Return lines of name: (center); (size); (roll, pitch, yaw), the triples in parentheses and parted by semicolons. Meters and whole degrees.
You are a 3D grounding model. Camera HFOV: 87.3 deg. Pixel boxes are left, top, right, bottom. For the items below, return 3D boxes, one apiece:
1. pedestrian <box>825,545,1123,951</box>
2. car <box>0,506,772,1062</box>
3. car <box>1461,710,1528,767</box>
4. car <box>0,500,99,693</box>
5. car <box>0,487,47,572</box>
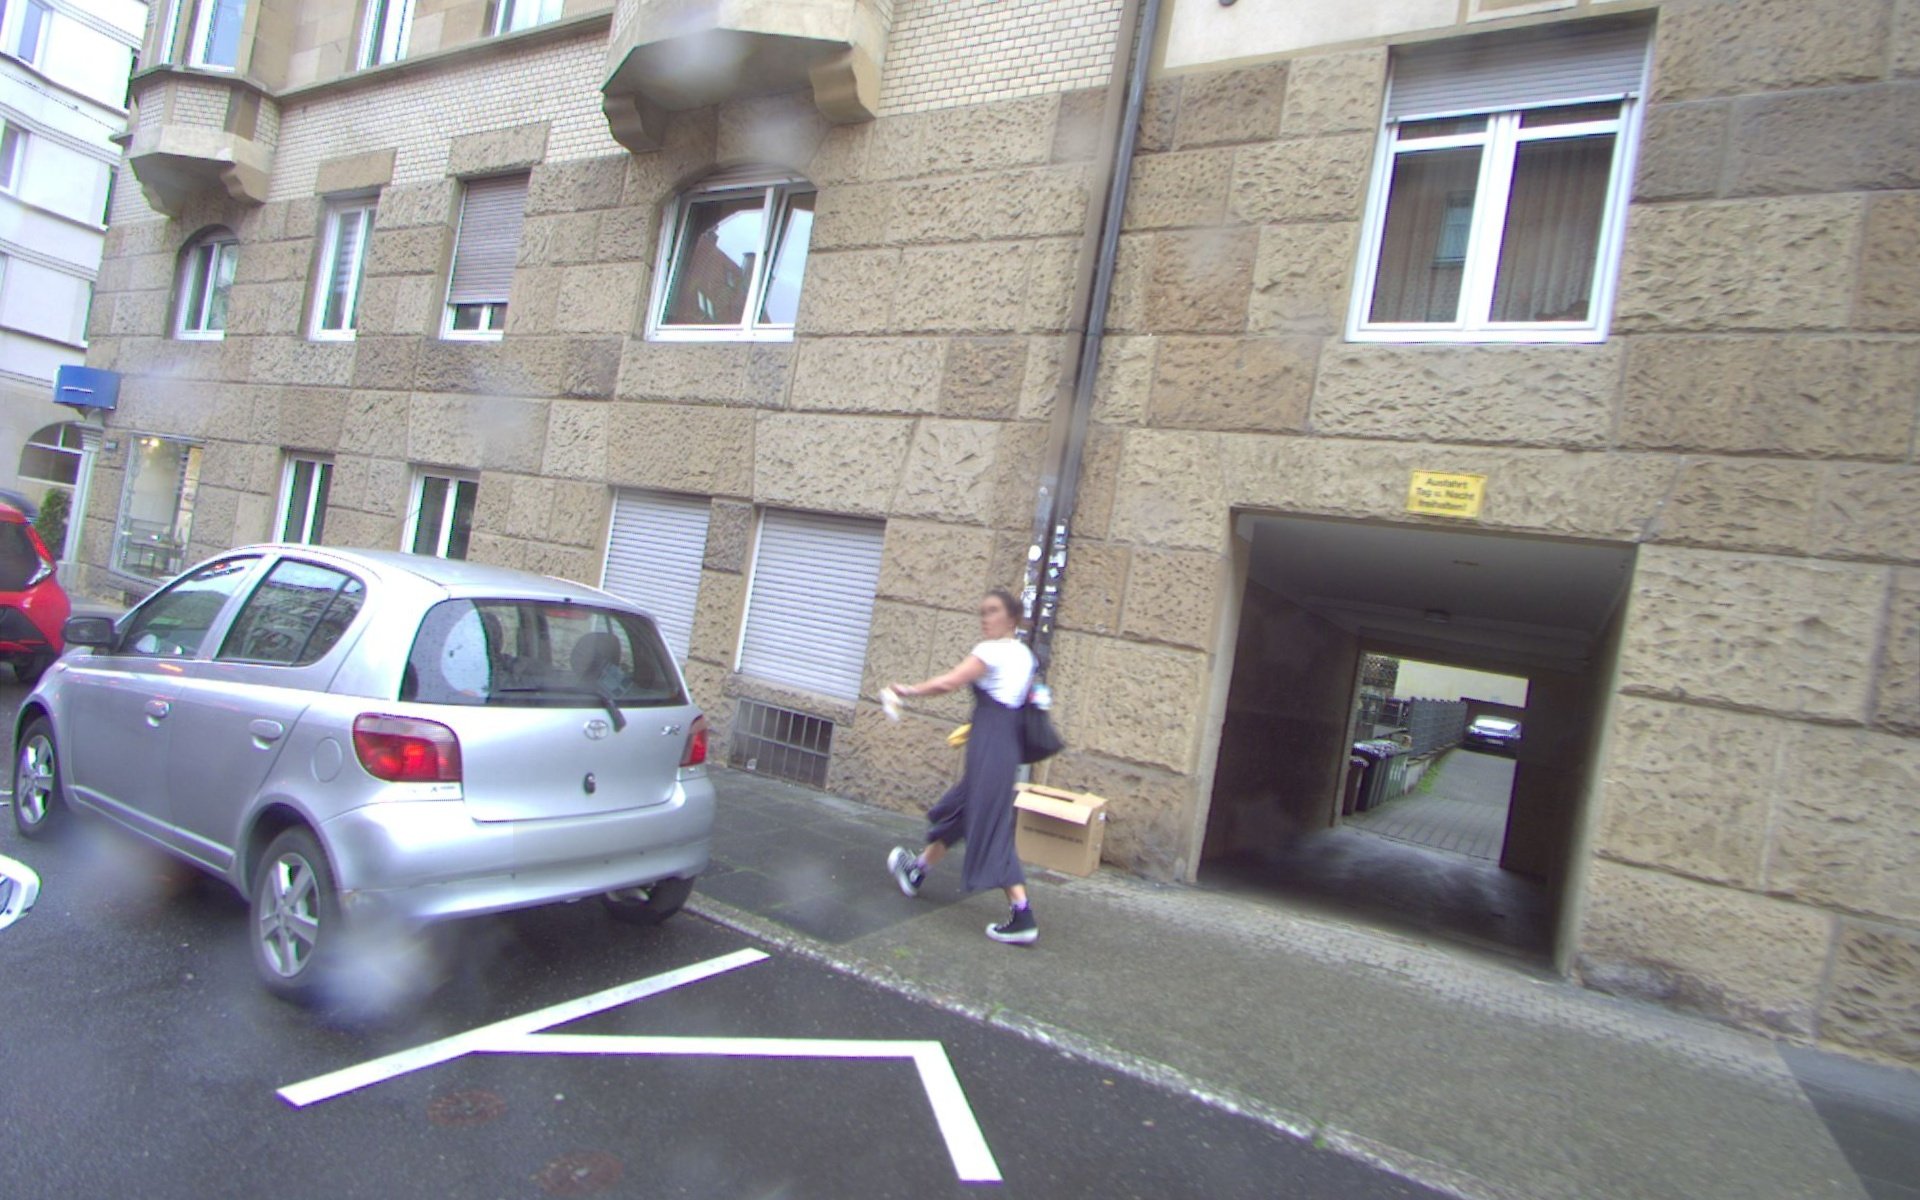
pedestrian: (0.077, 0.683, 5.117); (1.093, 1.768, 0.743); (6, -1, 32)
car: (-2.675, 0.523, 4.513); (3.258, 1.485, 1.616); (7, 0, 33)
car: (18.146, 4.673, 34.057); (1.693, 1.538, 4.102); (7, -3, 31)
car: (-8.924, -0.224, 8.289); (3.243, 1.464, 1.646); (7, -2, 29)
car: (-21.227, -1.706, 20.416); (1.527, 1.654, 3.675); (7, -2, 39)
